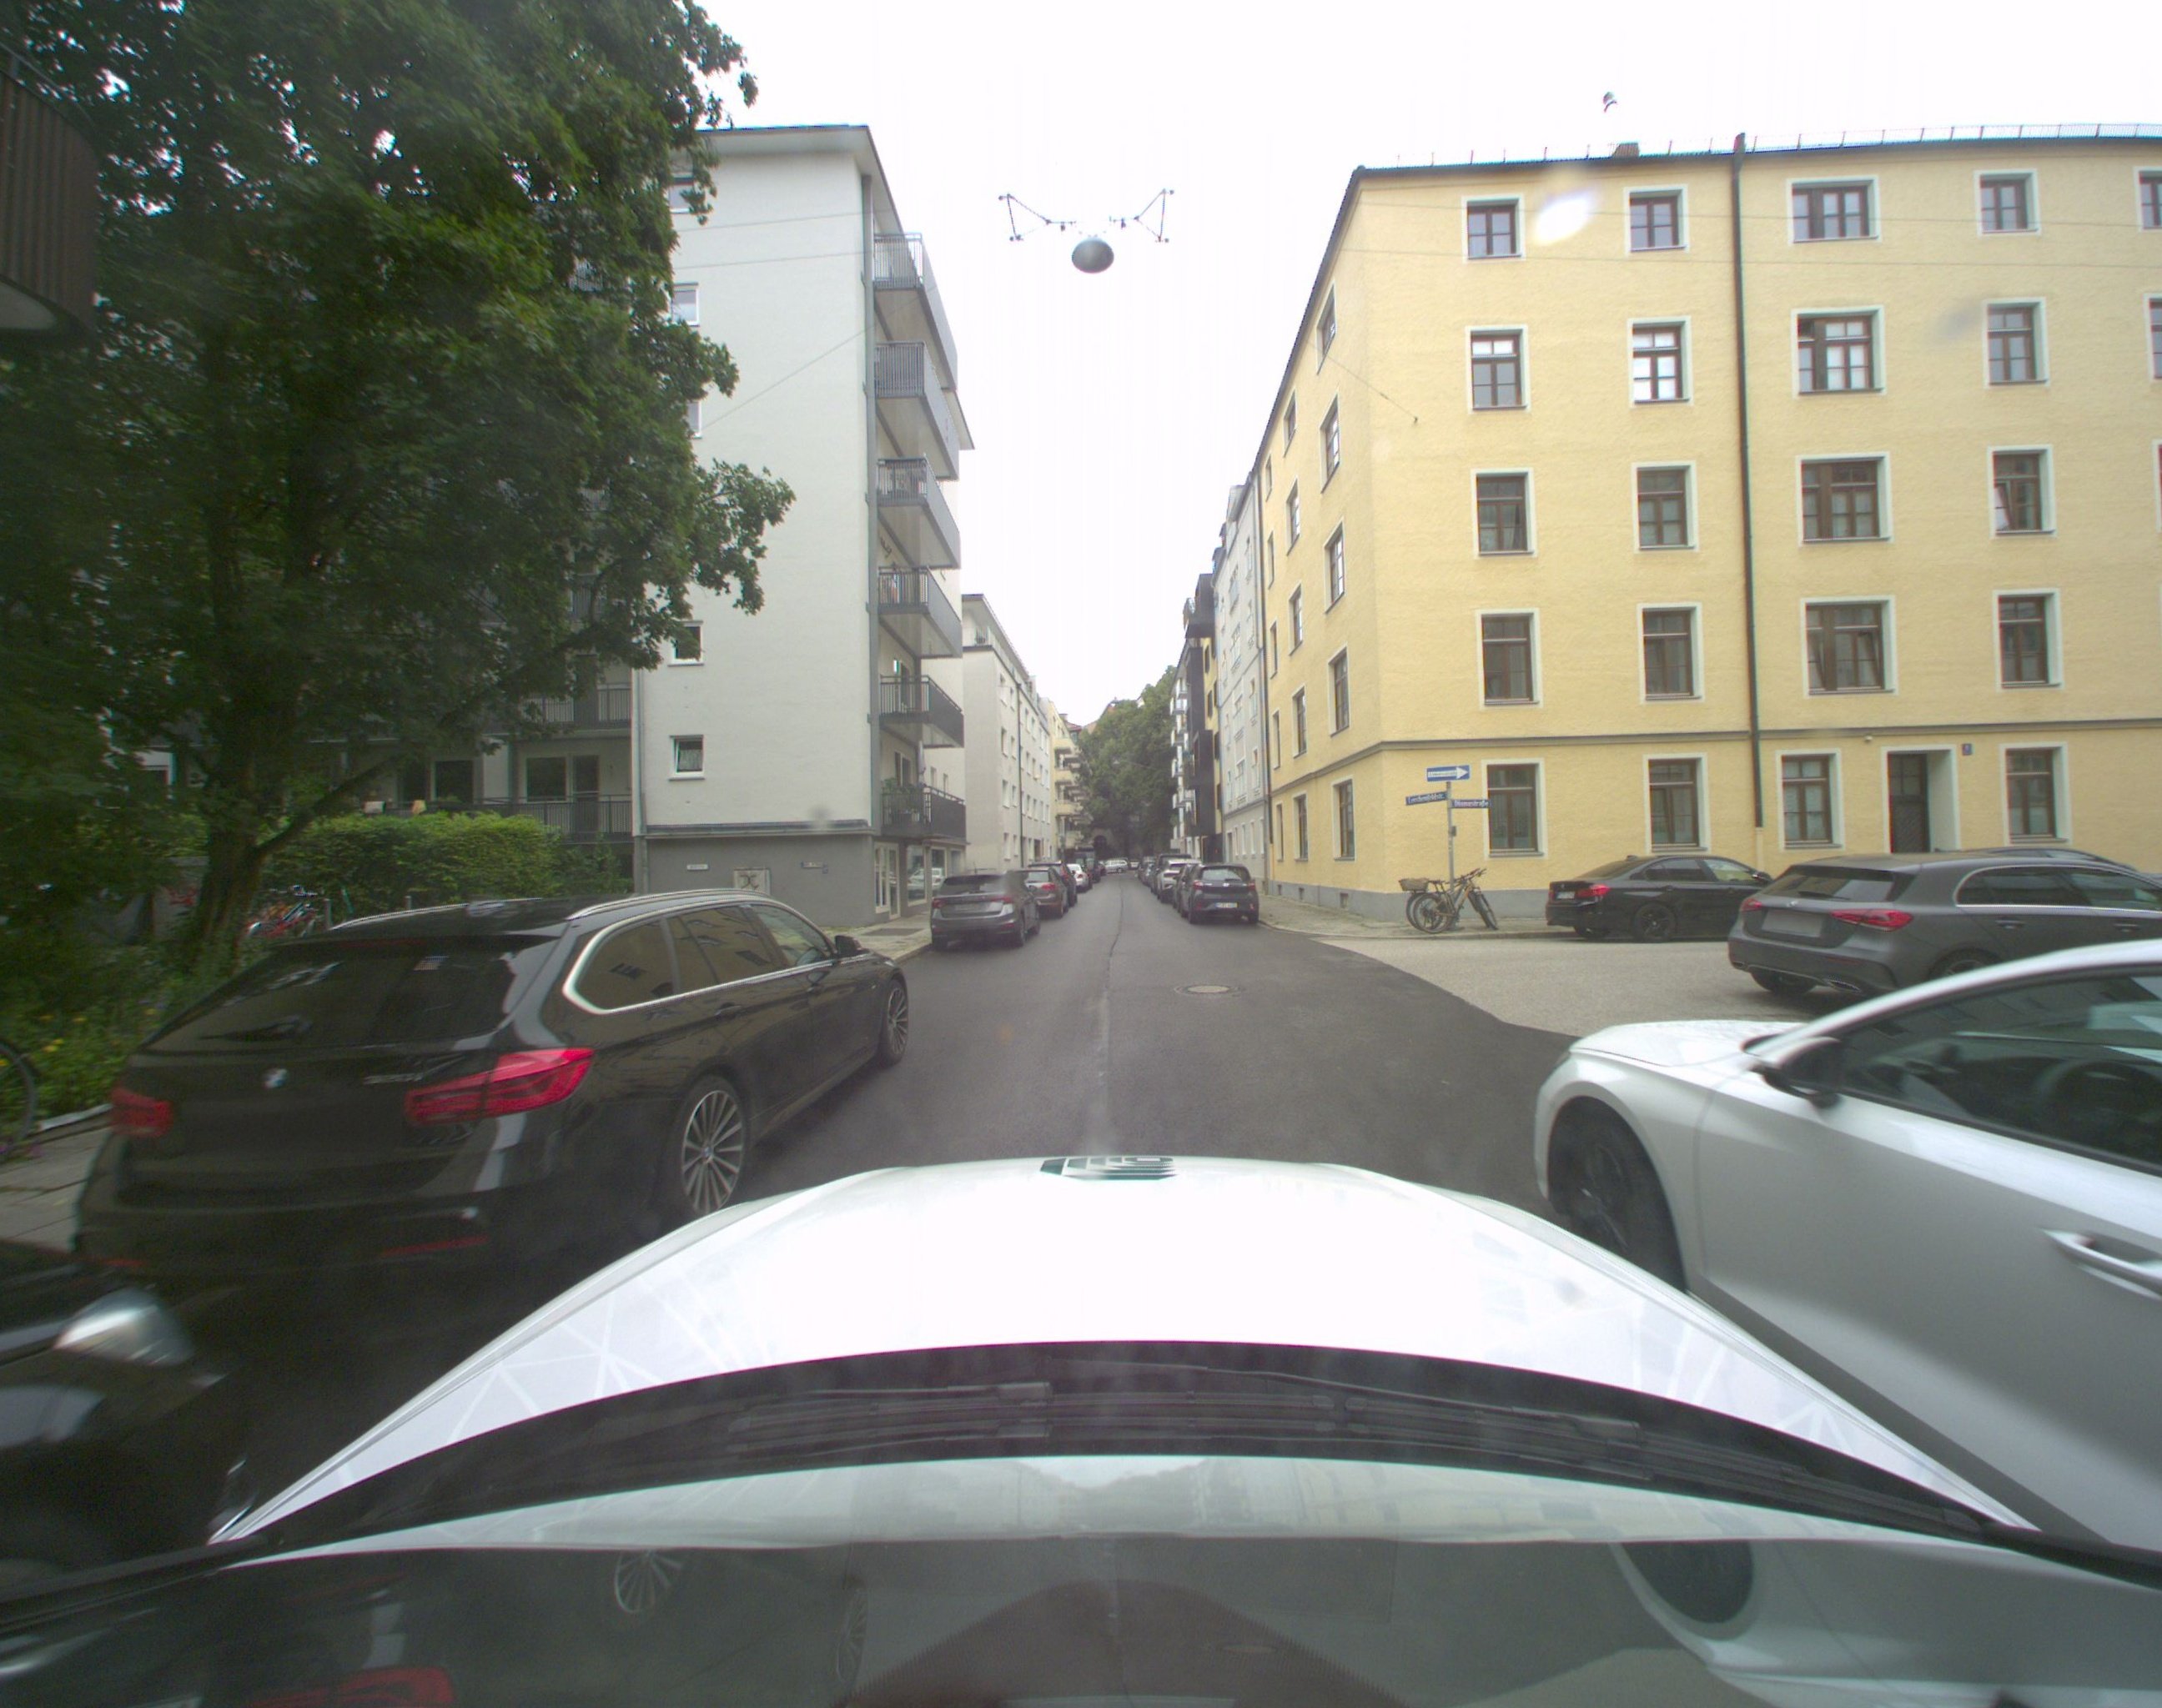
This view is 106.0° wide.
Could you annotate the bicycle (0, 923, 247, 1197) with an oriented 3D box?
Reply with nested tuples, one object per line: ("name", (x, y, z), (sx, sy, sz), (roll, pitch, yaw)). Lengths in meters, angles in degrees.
("bicycle", (-5.147, 0.979, 3.818), (0.533, 1.161, 1.790), (-3, -1, 3))

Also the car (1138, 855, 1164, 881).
("car", (5.595, 1.112, 65.582), (1.822, 1.999, 4.417), (2, -1, 2))

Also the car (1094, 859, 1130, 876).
("car", (3.459, 1.532, 91.419), (3.872, 1.584, 1.648), (-4, -1, 1))

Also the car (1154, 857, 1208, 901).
("car", (3.777, 0.919, 31.444), (1.675, 1.567, 4.417), (1, 0, 2))

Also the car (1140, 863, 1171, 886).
("car", (5.066, 1.365, 55.586), (1.822, 1.454, 4.417), (2, -1, 2))

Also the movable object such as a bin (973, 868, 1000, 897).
("movable object such as a bin", (-4.690, 1.400, 40.574), (1.042, 1.337, 0.994), (-4, -1, 5))

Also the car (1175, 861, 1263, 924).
("car", (3.535, 0.934, 21.527), (1.744, 1.469, 4.345), (1, 0, 2))

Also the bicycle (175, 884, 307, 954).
("bicycle", (-14.134, 1.068, 13.762), (0.512, 1.039, 1.608), (-2, 0, 1))

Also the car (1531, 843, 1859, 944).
("car", (10.156, 0.643, 13.699), (4.198, 1.494, 1.711), (-1, -2, 0))

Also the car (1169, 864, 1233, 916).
("car", (3.743, 1.095, 25.899), (1.657, 1.469, 3.822), (1, 0, 3))

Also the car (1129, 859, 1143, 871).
("car", (7.286, 1.445, 108.291), (1.636, 1.383, 3.747), (-4, -1, 2))

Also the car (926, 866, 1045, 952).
("car", (-1.812, 1.024, 16.581), (1.686, 1.442, 3.945), (-3, -1, 3))

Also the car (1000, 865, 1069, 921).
("car", (-1.289, 1.083, 24.243), (1.687, 1.442, 3.978), (-2, -1, 1))

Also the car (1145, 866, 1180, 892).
("car", (4.909, 1.475, 49.717), (1.822, 1.454, 4.417), (2, -1, 2))

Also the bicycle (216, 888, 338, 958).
("bicycle", (-13.627, 1.146, 13.865), (0.422, 1.039, 1.608), (-2, 0, 1))

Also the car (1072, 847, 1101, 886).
("car", (0.467, 0.962, 62.872), (1.929, 2.802, 4.534), (-4, -1, 2))

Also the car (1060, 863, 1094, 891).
("car", (-0.200, 1.333, 48.172), (1.770, 1.453, 4.048), (-4, -1, 2))

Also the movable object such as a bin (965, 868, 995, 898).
("movable object such as a bin", (-4.892, 1.401, 39.502), (1.161, 1.337, 1.027), (-4, -1, 5))

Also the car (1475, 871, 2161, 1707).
("car", (2.590, 0.761, 1.464), (1.813, 1.408, 3.950), (0, -1, -1))

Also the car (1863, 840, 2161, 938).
("car", (15.907, 0.580, 13.580), (3.958, 1.494, 1.712), (-1, -3, 2))

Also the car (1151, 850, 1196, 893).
("car", (4.388, 0.807, 39.170), (1.822, 1.910, 4.418), (0, 0, 3))

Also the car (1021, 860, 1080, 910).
("car", (-1.044, 1.068, 30.069), (1.770, 1.629, 4.416), (-2, -1, 2))

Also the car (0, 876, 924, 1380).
("car", (-2.392, 0.912, 4.699), (1.848, 1.408, 4.386), (-3, -1, 3))

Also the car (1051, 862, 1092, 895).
("car", (-0.465, 1.252, 43.163), (1.769, 1.487, 4.522), (-4, -1, 3))

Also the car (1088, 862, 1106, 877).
("car", (1.644, 1.527, 81.487), (1.636, 1.383, 3.484), (-4, -1, 2))

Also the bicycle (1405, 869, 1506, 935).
("bicycle", (7.092, 0.900, 15.458), (1.707, 1.139, 0.374), (-3, 1, 1))

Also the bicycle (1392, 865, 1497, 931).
("bicycle", (7.121, 0.850, 15.979), (1.802, 1.174, 0.505), (-3, 1, 0))

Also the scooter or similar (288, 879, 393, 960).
("scooter or similar", (-12.644, 1.085, 13.958), (0.343, 1.244, 1.546), (-2, 0, 1))

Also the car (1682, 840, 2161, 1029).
("car", (8.417, 0.627, 7.589), (4.191, 1.399, 1.999), (-2, 1, -1))

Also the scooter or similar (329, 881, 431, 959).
("scooter or similar", (-11.901, 1.085, 13.876), (0.320, 1.202, 1.571), (-2, 0, 1))
